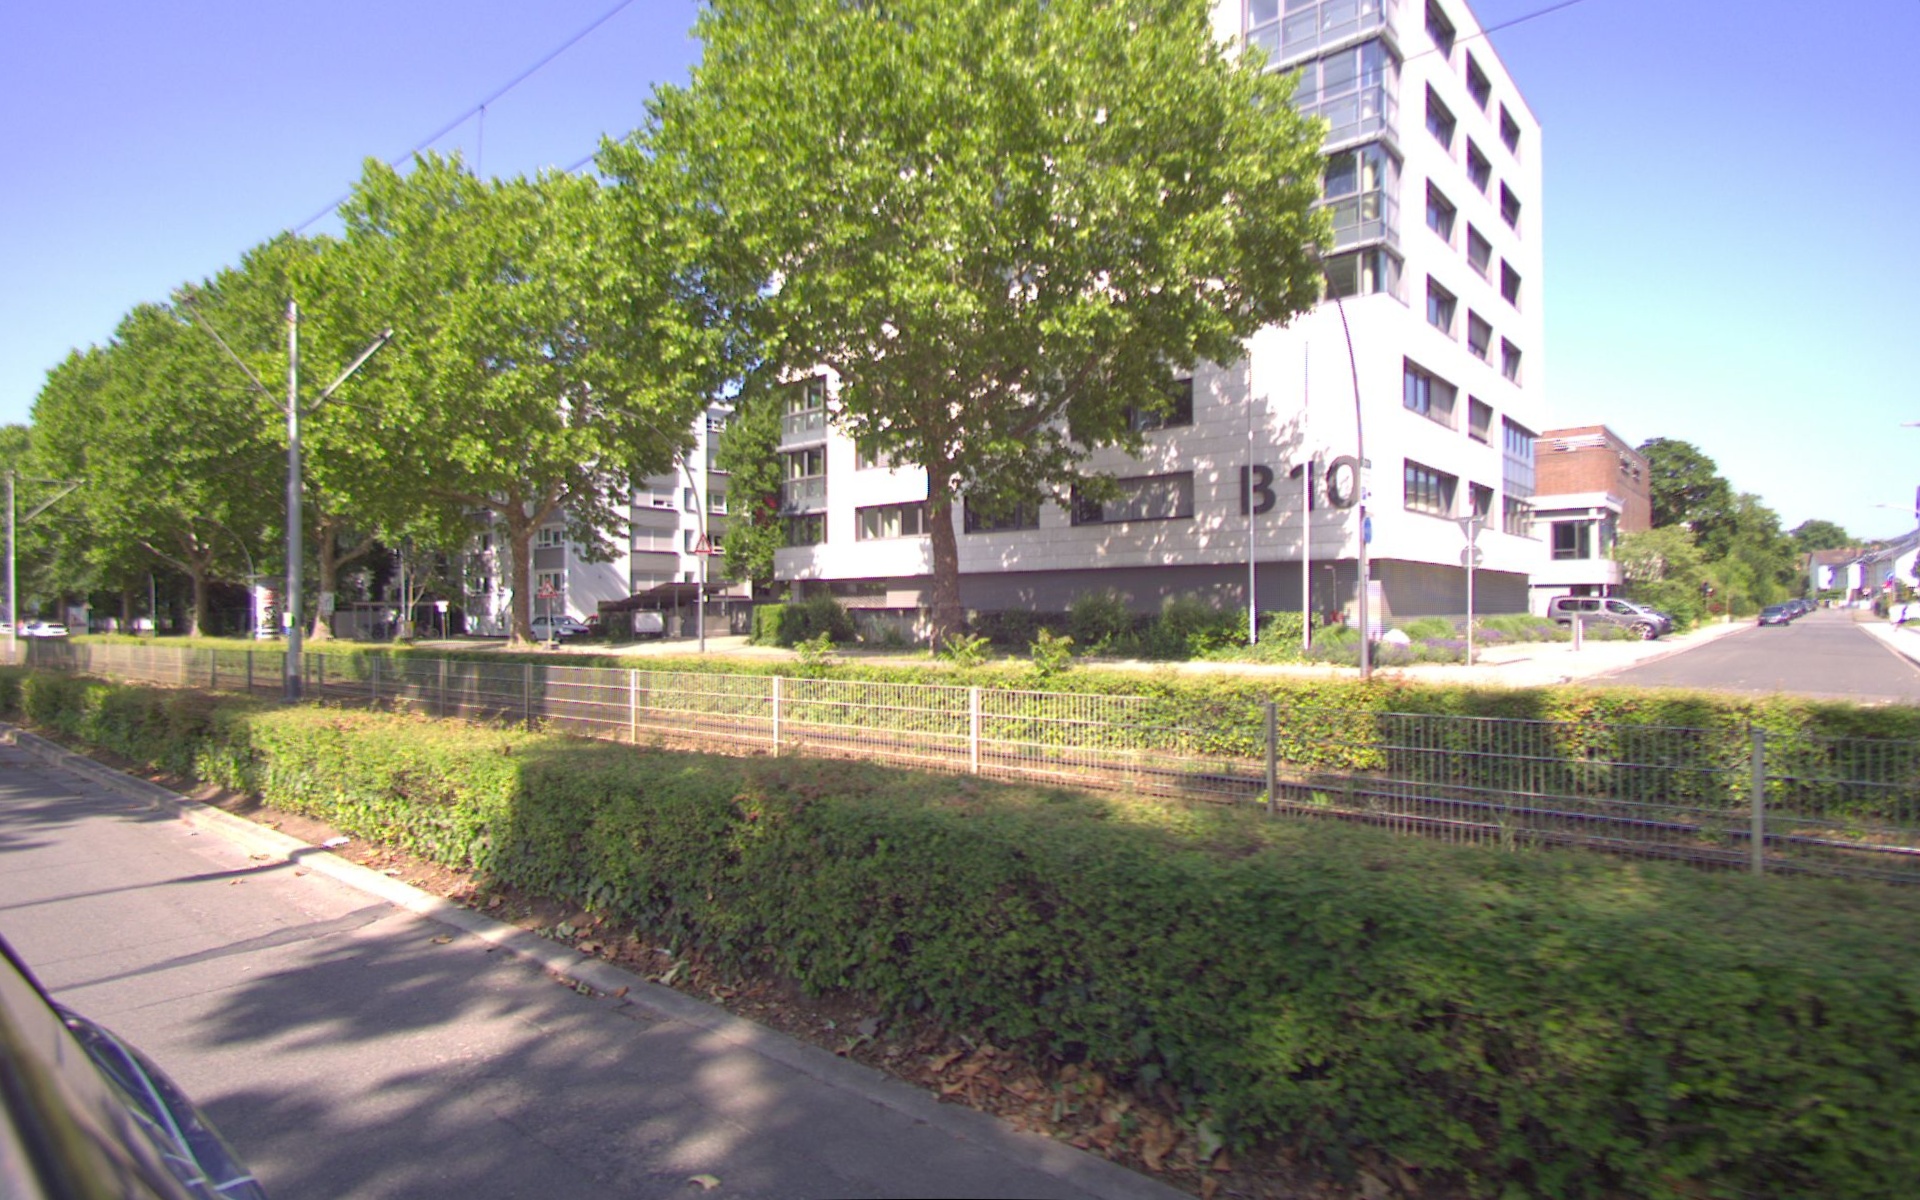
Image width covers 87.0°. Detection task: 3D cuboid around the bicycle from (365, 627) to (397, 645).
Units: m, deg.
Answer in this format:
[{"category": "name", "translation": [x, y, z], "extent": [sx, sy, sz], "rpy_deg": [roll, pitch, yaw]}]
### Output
[{"category": "bicycle", "translation": [-37.365, 2.287, 65.361], "extent": [0.421, 1.111, 1.748], "rpy_deg": [-2, -1, 39]}]

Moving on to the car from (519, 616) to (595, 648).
[{"category": "car", "translation": [-20.574, 1.635, 51.649], "extent": [4.344, 1.561, 1.725], "rpy_deg": [-1, -1, 39]}]

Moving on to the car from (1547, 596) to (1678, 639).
[{"category": "car", "translation": [28.649, 0.761, 44.508], "extent": [4.615, 1.828, 1.973], "rpy_deg": [-1, -1, 41]}]

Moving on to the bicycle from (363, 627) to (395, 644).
[{"category": "bicycle", "translation": [-37.699, 2.294, 65.681], "extent": [0.421, 1.111, 1.748], "rpy_deg": [-2, -1, 39]}]

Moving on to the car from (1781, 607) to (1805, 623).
[{"category": "car", "translation": [80.695, 1.461, 98.022], "extent": [1.732, 1.546, 3.803], "rpy_deg": [-1, -1, 41]}]

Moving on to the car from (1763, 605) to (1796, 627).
[{"category": "car", "translation": [59.551, 1.177, 73.497], "extent": [1.732, 1.546, 3.746], "rpy_deg": [-1, -1, 41]}]

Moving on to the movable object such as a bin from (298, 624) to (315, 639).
[{"category": "movable object such as a bin", "translation": [-45.262, 2.187, 70.098], "extent": [0.545, 1.045, 0.887], "rpy_deg": [-1, -1, 39]}]

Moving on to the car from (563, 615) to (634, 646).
[{"category": "car", "translation": [-19.184, 1.614, 53.658], "extent": [3.996, 1.561, 1.725], "rpy_deg": [-1, -1, 39]}]

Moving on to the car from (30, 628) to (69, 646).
[{"category": "car", "translation": [-76.133, 3.090, 84.631], "extent": [3.909, 1.502, 1.797], "rpy_deg": [-1, -3, 39]}]

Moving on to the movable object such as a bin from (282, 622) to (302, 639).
[{"category": "movable object such as a bin", "translation": [-47.627, 2.161, 72.181], "extent": [1.098, 1.198, 0.887], "rpy_deg": [-1, -1, 39]}]

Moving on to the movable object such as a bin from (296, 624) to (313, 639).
[{"category": "movable object such as a bin", "translation": [-45.646, 2.196, 70.504], "extent": [0.545, 1.045, 0.887], "rpy_deg": [-1, -1, 39]}]

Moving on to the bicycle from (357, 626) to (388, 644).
[{"category": "bicycle", "translation": [-38.534, 2.309, 66.374], "extent": [0.421, 1.111, 1.748], "rpy_deg": [-2, -1, 39]}]

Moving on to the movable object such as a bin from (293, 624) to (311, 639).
[{"category": "movable object such as a bin", "translation": [-46.075, 2.204, 70.872], "extent": [0.545, 1.045, 0.887], "rpy_deg": [-1, -1, 39]}]

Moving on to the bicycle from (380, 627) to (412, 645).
[{"category": "bicycle", "translation": [-35.827, 2.262, 64.270], "extent": [0.421, 1.111, 1.748], "rpy_deg": [-2, -1, 39]}]

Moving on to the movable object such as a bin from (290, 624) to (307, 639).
[{"category": "movable object such as a bin", "translation": [-46.547, 2.213, 71.251], "extent": [0.545, 1.045, 0.887], "rpy_deg": [-1, -1, 39]}]

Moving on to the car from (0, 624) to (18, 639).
[{"category": "car", "translation": [-96.684, 3.194, 102.135], "extent": [3.996, 1.464, 1.837], "rpy_deg": [-1, -1, 39]}]

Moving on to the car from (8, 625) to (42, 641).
[{"category": "car", "translation": [-87.744, 3.103, 94.952], "extent": [3.996, 1.464, 1.833], "rpy_deg": [-1, -1, 39]}]

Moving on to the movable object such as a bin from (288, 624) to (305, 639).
[{"category": "movable object such as a bin", "translation": [-46.960, 2.221, 71.639], "extent": [0.545, 1.045, 0.887], "rpy_deg": [-1, -1, 39]}]
